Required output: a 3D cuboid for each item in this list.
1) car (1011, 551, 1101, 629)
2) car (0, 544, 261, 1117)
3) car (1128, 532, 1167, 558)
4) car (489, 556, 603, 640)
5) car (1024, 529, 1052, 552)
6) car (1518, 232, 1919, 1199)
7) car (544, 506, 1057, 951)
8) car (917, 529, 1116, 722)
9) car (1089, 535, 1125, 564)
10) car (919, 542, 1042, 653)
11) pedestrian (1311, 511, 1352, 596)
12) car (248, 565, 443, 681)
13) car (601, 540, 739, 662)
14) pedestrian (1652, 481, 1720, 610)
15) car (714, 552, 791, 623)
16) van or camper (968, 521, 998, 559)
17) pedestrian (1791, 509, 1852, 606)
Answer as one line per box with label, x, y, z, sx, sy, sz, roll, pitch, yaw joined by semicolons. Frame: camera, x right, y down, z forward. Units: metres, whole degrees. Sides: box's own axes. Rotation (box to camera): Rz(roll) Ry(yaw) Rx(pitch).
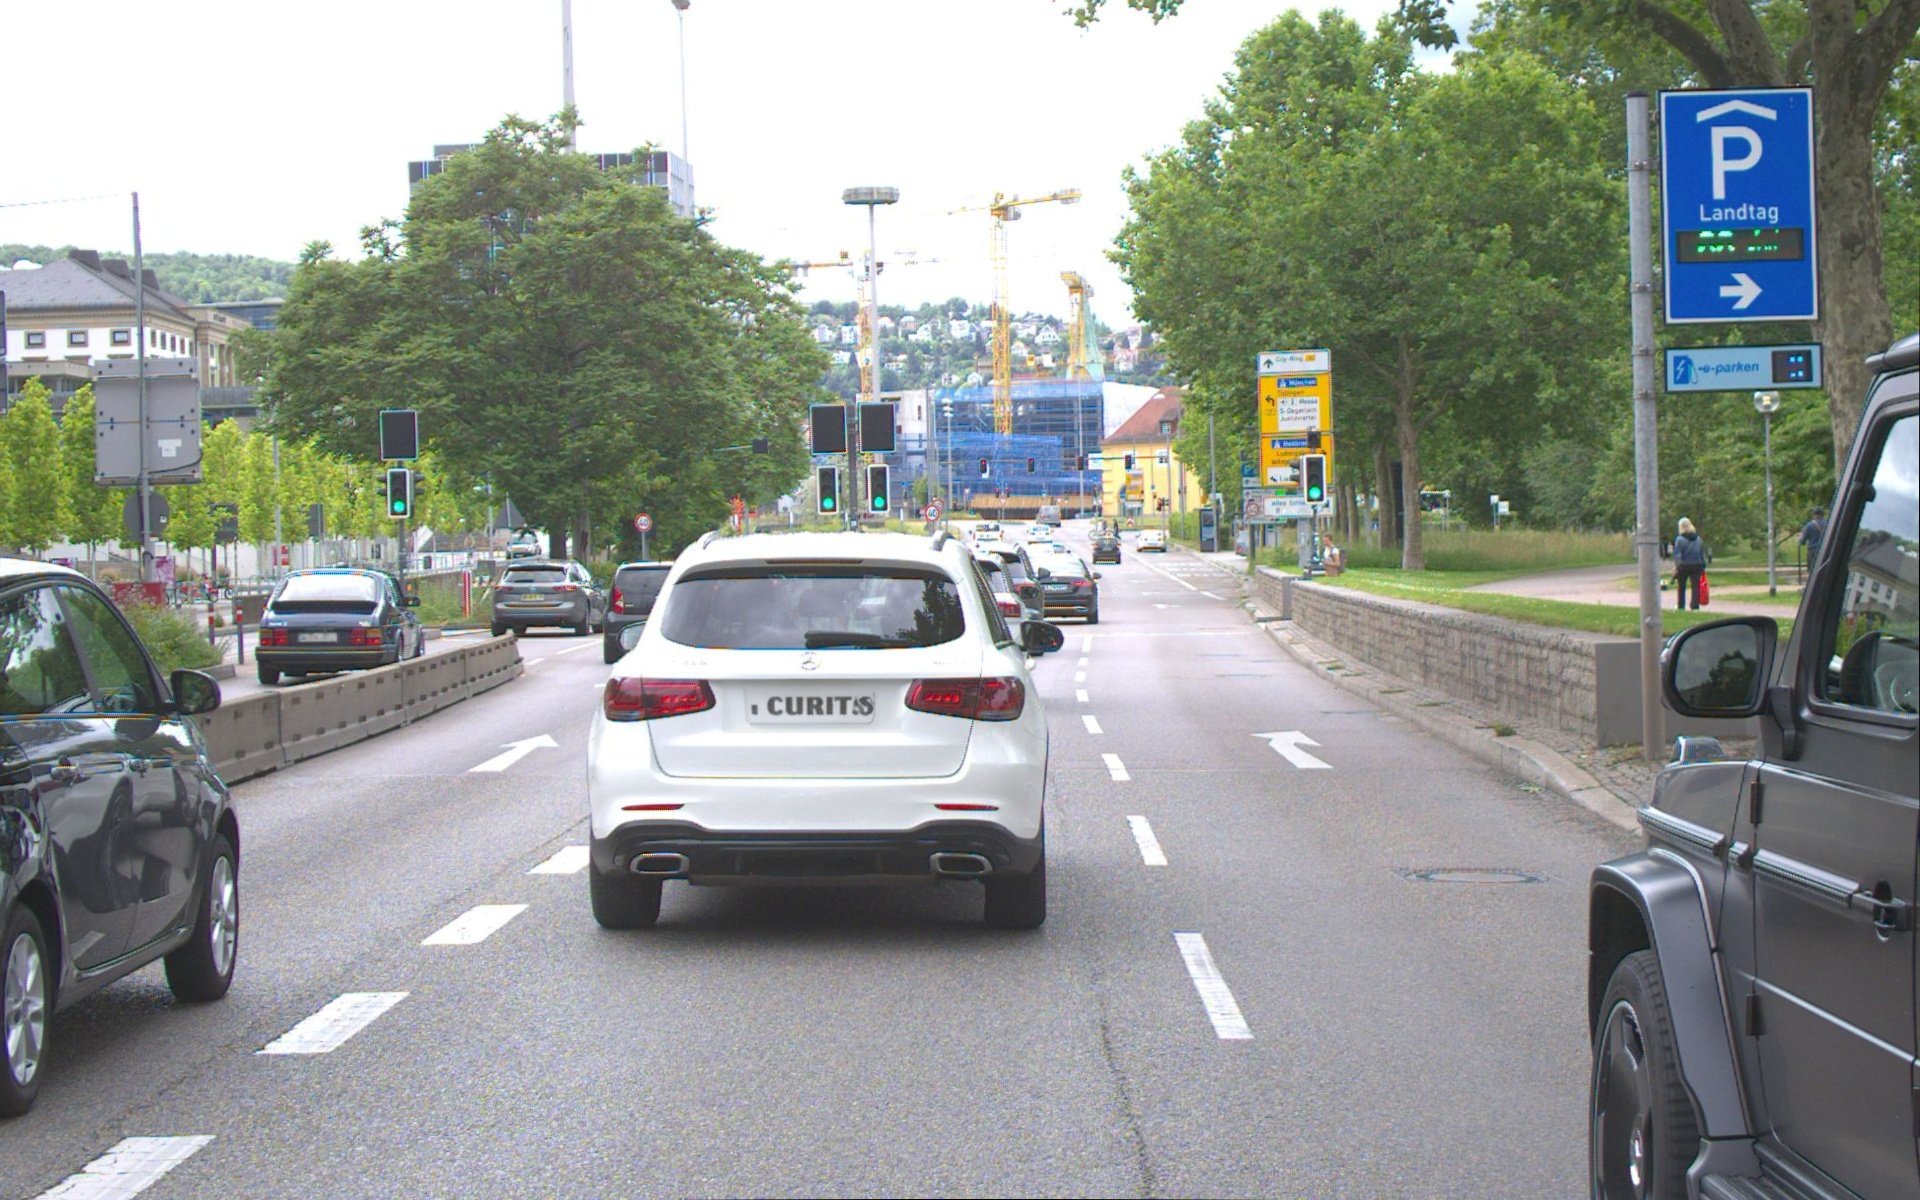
car;2.027;-0.239;73.614;1.719;1.579;4.000;1;1;-1
car;-3.322;0.602;10.502;1.627;1.504;3.540;0;0;0
car;12.131;-3.562;222.493;1.993;1.612;4.001;1;0;-4
car;-8.025;-0.056;66.917;1.753;1.548;4.000;1;1;-1
car;5.458;-4.182;240.677;1.719;1.579;4.000;1;1;-1
car;2.224;0.478;4.882;1.977;1.887;4.707;1;0;-1
car;-0.622;0.492;15.220;1.940;1.678;4.000;1;0;0
car;0.522;0.226;31.483;1.672;1.622;4.000;1;0;1
car;8.247;-2.843;193.409;1.719;1.579;4.000;1;1;-1
car;0.275;-0.060;51.976;1.719;1.579;4.000;1;1;-1
pedestrian;7.312;-0.906;67.645;0.697;1.650;0.684;1;0;0
car;-7.410;0.245;41.787;1.719;1.288;4.000;1;1;-1
car;-4.185;-0.016;50.059;1.719;1.673;4.000;1;1;-1
pedestrian;11.511;-0.856;54.512;0.856;2.007;0.815;1;-1;-1
car;-4.785;-0.307;79.517;1.719;1.579;4.001;1;1;-3
van or camper;1.453;-3.801;218.510;1.922;2.312;4.000;0;-1;0
pedestrian;13.730;-0.667;54.781;0.786;1.521;0.683;1;0;1
